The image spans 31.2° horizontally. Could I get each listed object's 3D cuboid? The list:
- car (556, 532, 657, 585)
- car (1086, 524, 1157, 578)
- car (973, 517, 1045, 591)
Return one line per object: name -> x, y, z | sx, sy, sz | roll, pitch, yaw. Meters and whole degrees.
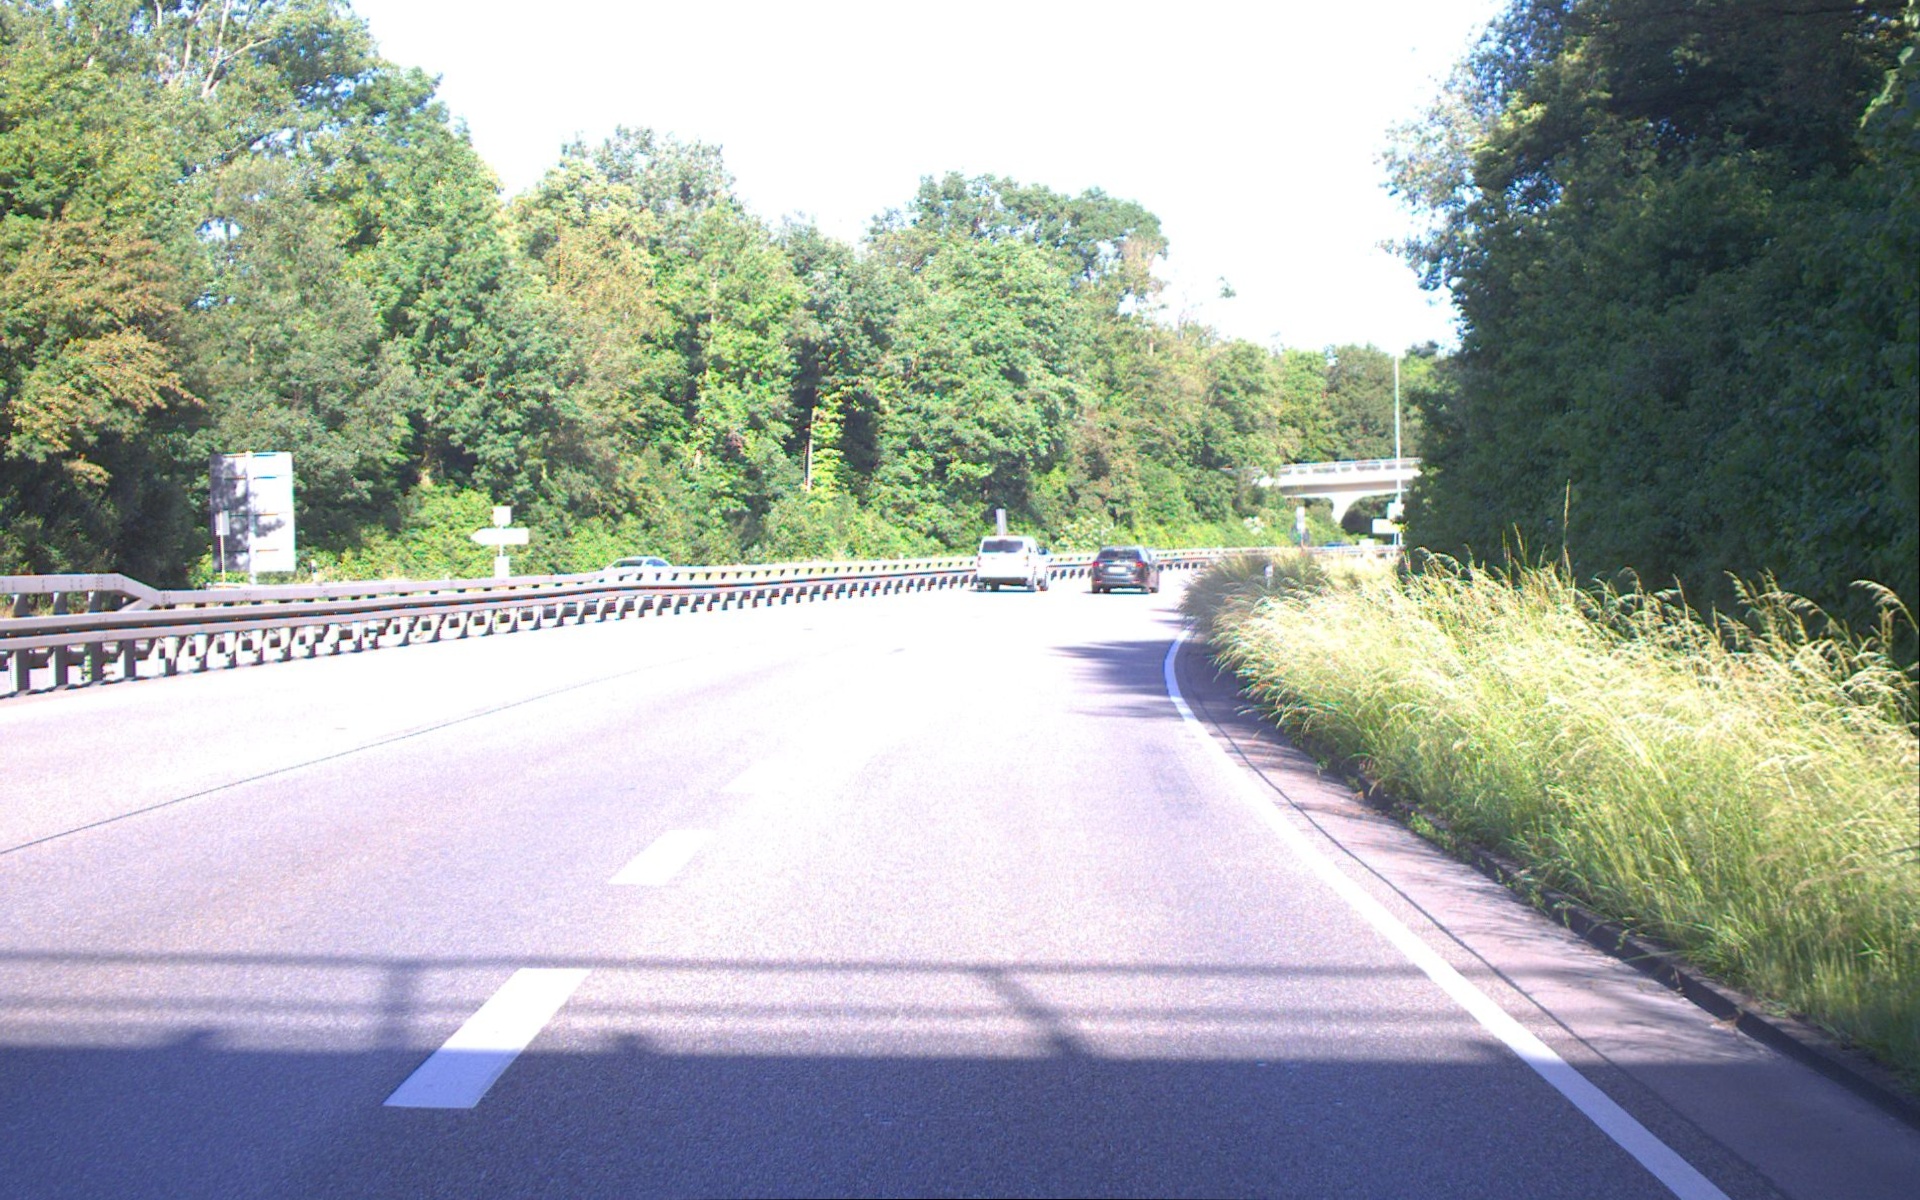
car -> -13.861, -1.597, 134.889 | 1.996, 2.007, 4.623 | 0, 0, 22
car -> 5.082, -1.535, 107.785 | 1.740, 1.656, 3.944 | -1, 1, 9
car -> 1.573, -1.461, 109.192 | 1.994, 2.270, 3.999 | -1, 1, 5
